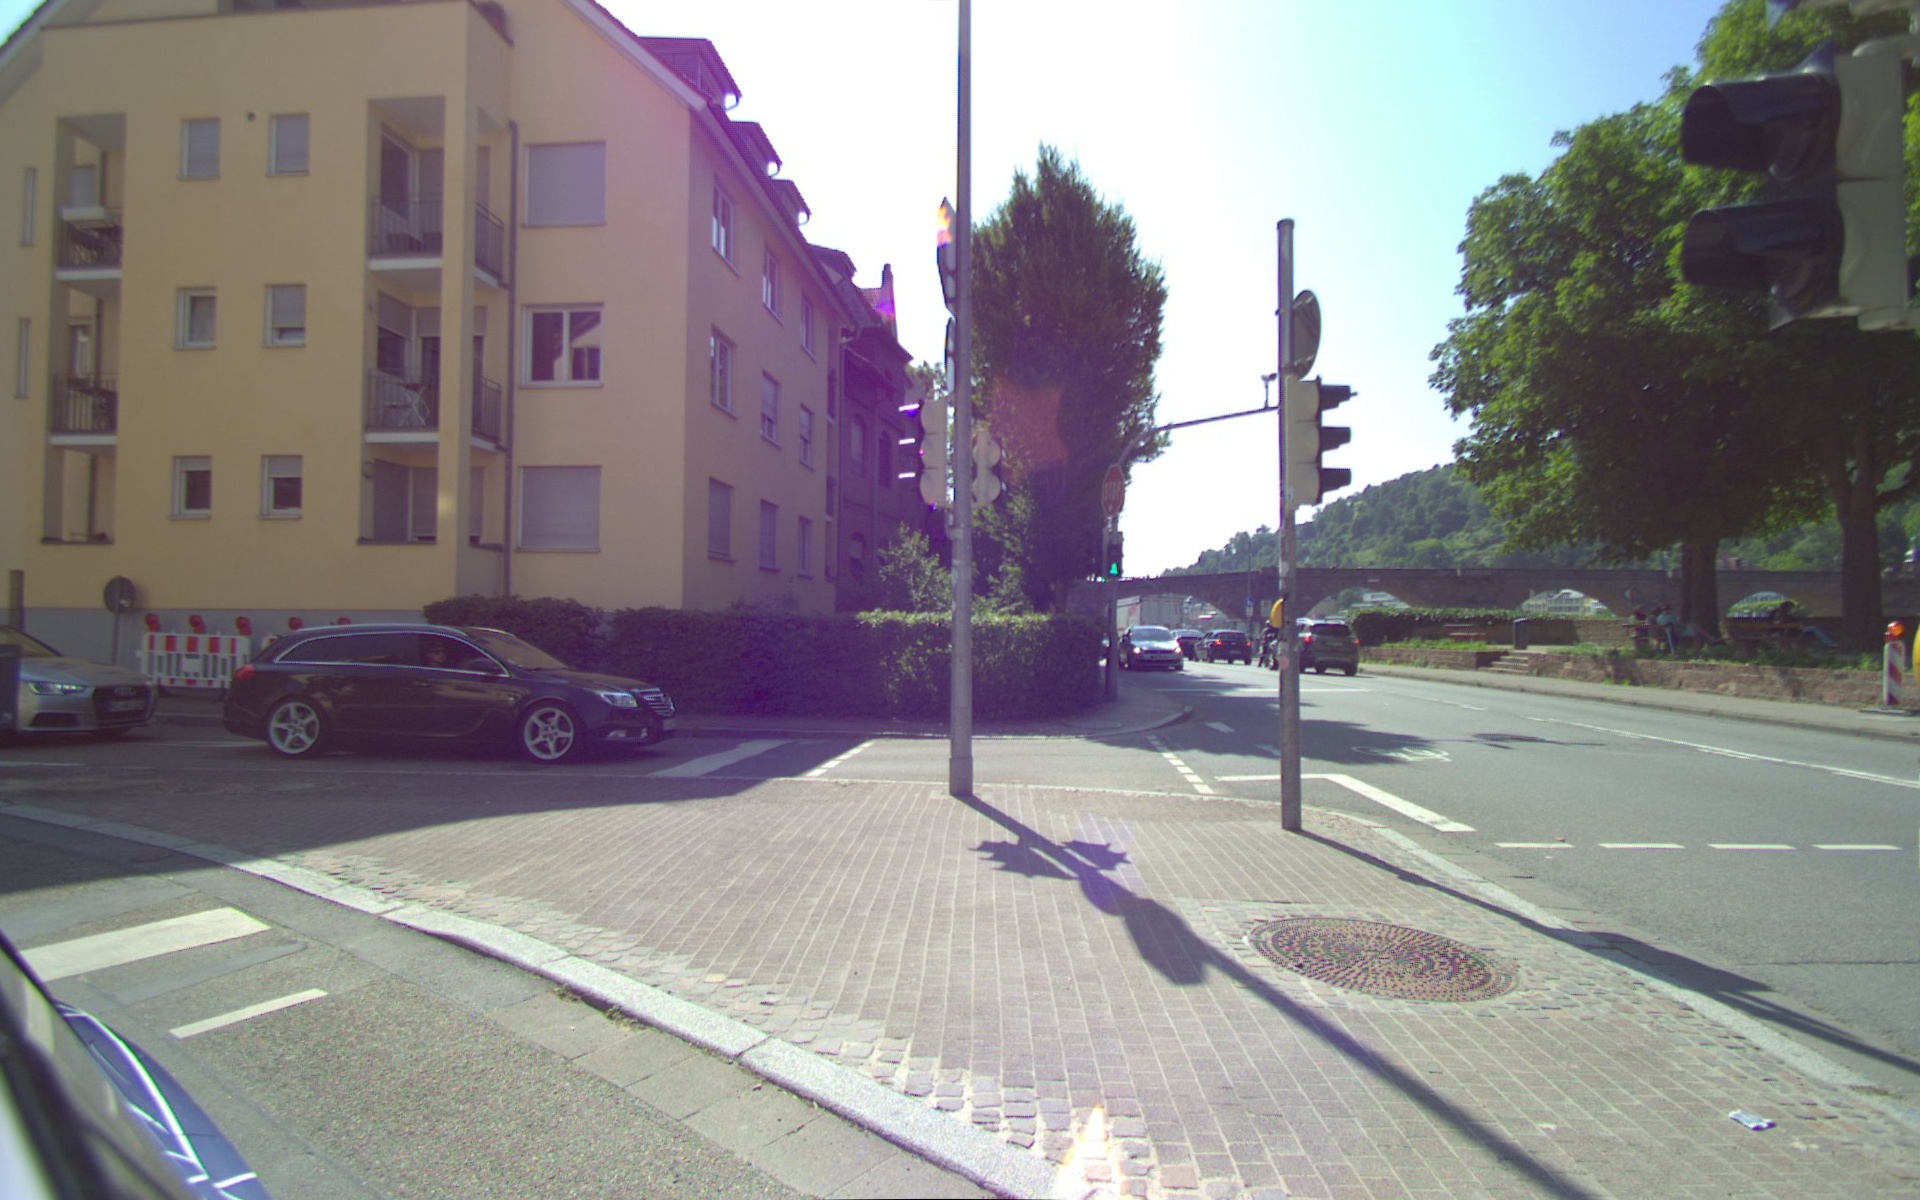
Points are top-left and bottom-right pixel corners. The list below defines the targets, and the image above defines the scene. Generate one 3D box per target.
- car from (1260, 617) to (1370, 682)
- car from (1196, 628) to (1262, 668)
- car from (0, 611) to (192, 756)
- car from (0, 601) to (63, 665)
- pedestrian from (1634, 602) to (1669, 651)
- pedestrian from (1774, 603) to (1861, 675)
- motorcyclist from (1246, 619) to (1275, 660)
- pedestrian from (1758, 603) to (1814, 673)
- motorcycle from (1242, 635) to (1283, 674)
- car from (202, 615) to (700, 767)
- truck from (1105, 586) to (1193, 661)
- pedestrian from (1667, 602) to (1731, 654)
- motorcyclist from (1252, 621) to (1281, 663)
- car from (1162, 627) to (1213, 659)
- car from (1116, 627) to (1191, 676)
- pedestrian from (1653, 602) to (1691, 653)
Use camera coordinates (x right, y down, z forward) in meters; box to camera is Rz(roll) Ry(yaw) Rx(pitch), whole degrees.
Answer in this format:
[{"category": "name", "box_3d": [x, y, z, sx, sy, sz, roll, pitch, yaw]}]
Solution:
[{"category": "car", "box_3d": [11.097, 1.494, 32.002, 1.818, 1.766, 4.409, 3, -1, 0]}, {"category": "car", "box_3d": [11.326, 1.988, 42.852, 1.974, 1.608, 3.995, 0, -2, 4]}, {"category": "car", "box_3d": [-11.679, 0.873, 11.632, 4.324, 1.504, 1.876, 1, -2, 2]}, {"category": "car", "box_3d": [-24.293, 0.810, 24.299, 1.829, 1.556, 3.994, 0, -1, 5]}, {"category": "pedestrian", "box_3d": [18.363, 0.703, 26.879, 0.624, 1.280, 0.467, 1, -2, 7]}, {"category": "pedestrian", "box_3d": [18.303, 0.831, 21.619, 1.368, 1.490, 0.467, 1, -2, 7]}, {"category": "motorcyclist", "box_3d": [11.267, 1.465, 37.958, 0.807, 1.506, 0.874, 0, 1, 0]}, {"category": "pedestrian", "box_3d": [18.103, 0.822, 22.191, 0.795, 1.504, 0.467, 1, -2, 7]}, {"category": "motorcycle", "box_3d": [11.250, 2.003, 37.685, 0.753, 1.387, 2.471, 1, -2, 0]}, {"category": "car", "box_3d": [-5.460, 0.978, 11.251, 4.660, 1.473, 1.718, 1, -4, 2]}, {"category": "truck", "box_3d": [11.701, 1.514, 64.158, 3.169, 4.246, 12.763, 1, -2, 0]}, {"category": "pedestrian", "box_3d": [18.540, 0.705, 25.418, 1.209, 1.280, 0.467, 1, -2, 7]}, {"category": "motorcyclist", "box_3d": [11.259, 1.538, 37.167, 0.807, 1.504, 0.773, 1, -2, 0]}, {"category": "car", "box_3d": [11.344, 2.124, 50.669, 1.899, 1.519, 3.995, 0, -2, 4]}, {"category": "car", "box_3d": [6.279, 1.654, 33.280, 1.669, 1.466, 3.740, -1, -1, -1]}, {"category": "pedestrian", "box_3d": [18.280, 0.703, 25.998, 0.624, 1.280, 0.467, 1, -2, 7]}]
